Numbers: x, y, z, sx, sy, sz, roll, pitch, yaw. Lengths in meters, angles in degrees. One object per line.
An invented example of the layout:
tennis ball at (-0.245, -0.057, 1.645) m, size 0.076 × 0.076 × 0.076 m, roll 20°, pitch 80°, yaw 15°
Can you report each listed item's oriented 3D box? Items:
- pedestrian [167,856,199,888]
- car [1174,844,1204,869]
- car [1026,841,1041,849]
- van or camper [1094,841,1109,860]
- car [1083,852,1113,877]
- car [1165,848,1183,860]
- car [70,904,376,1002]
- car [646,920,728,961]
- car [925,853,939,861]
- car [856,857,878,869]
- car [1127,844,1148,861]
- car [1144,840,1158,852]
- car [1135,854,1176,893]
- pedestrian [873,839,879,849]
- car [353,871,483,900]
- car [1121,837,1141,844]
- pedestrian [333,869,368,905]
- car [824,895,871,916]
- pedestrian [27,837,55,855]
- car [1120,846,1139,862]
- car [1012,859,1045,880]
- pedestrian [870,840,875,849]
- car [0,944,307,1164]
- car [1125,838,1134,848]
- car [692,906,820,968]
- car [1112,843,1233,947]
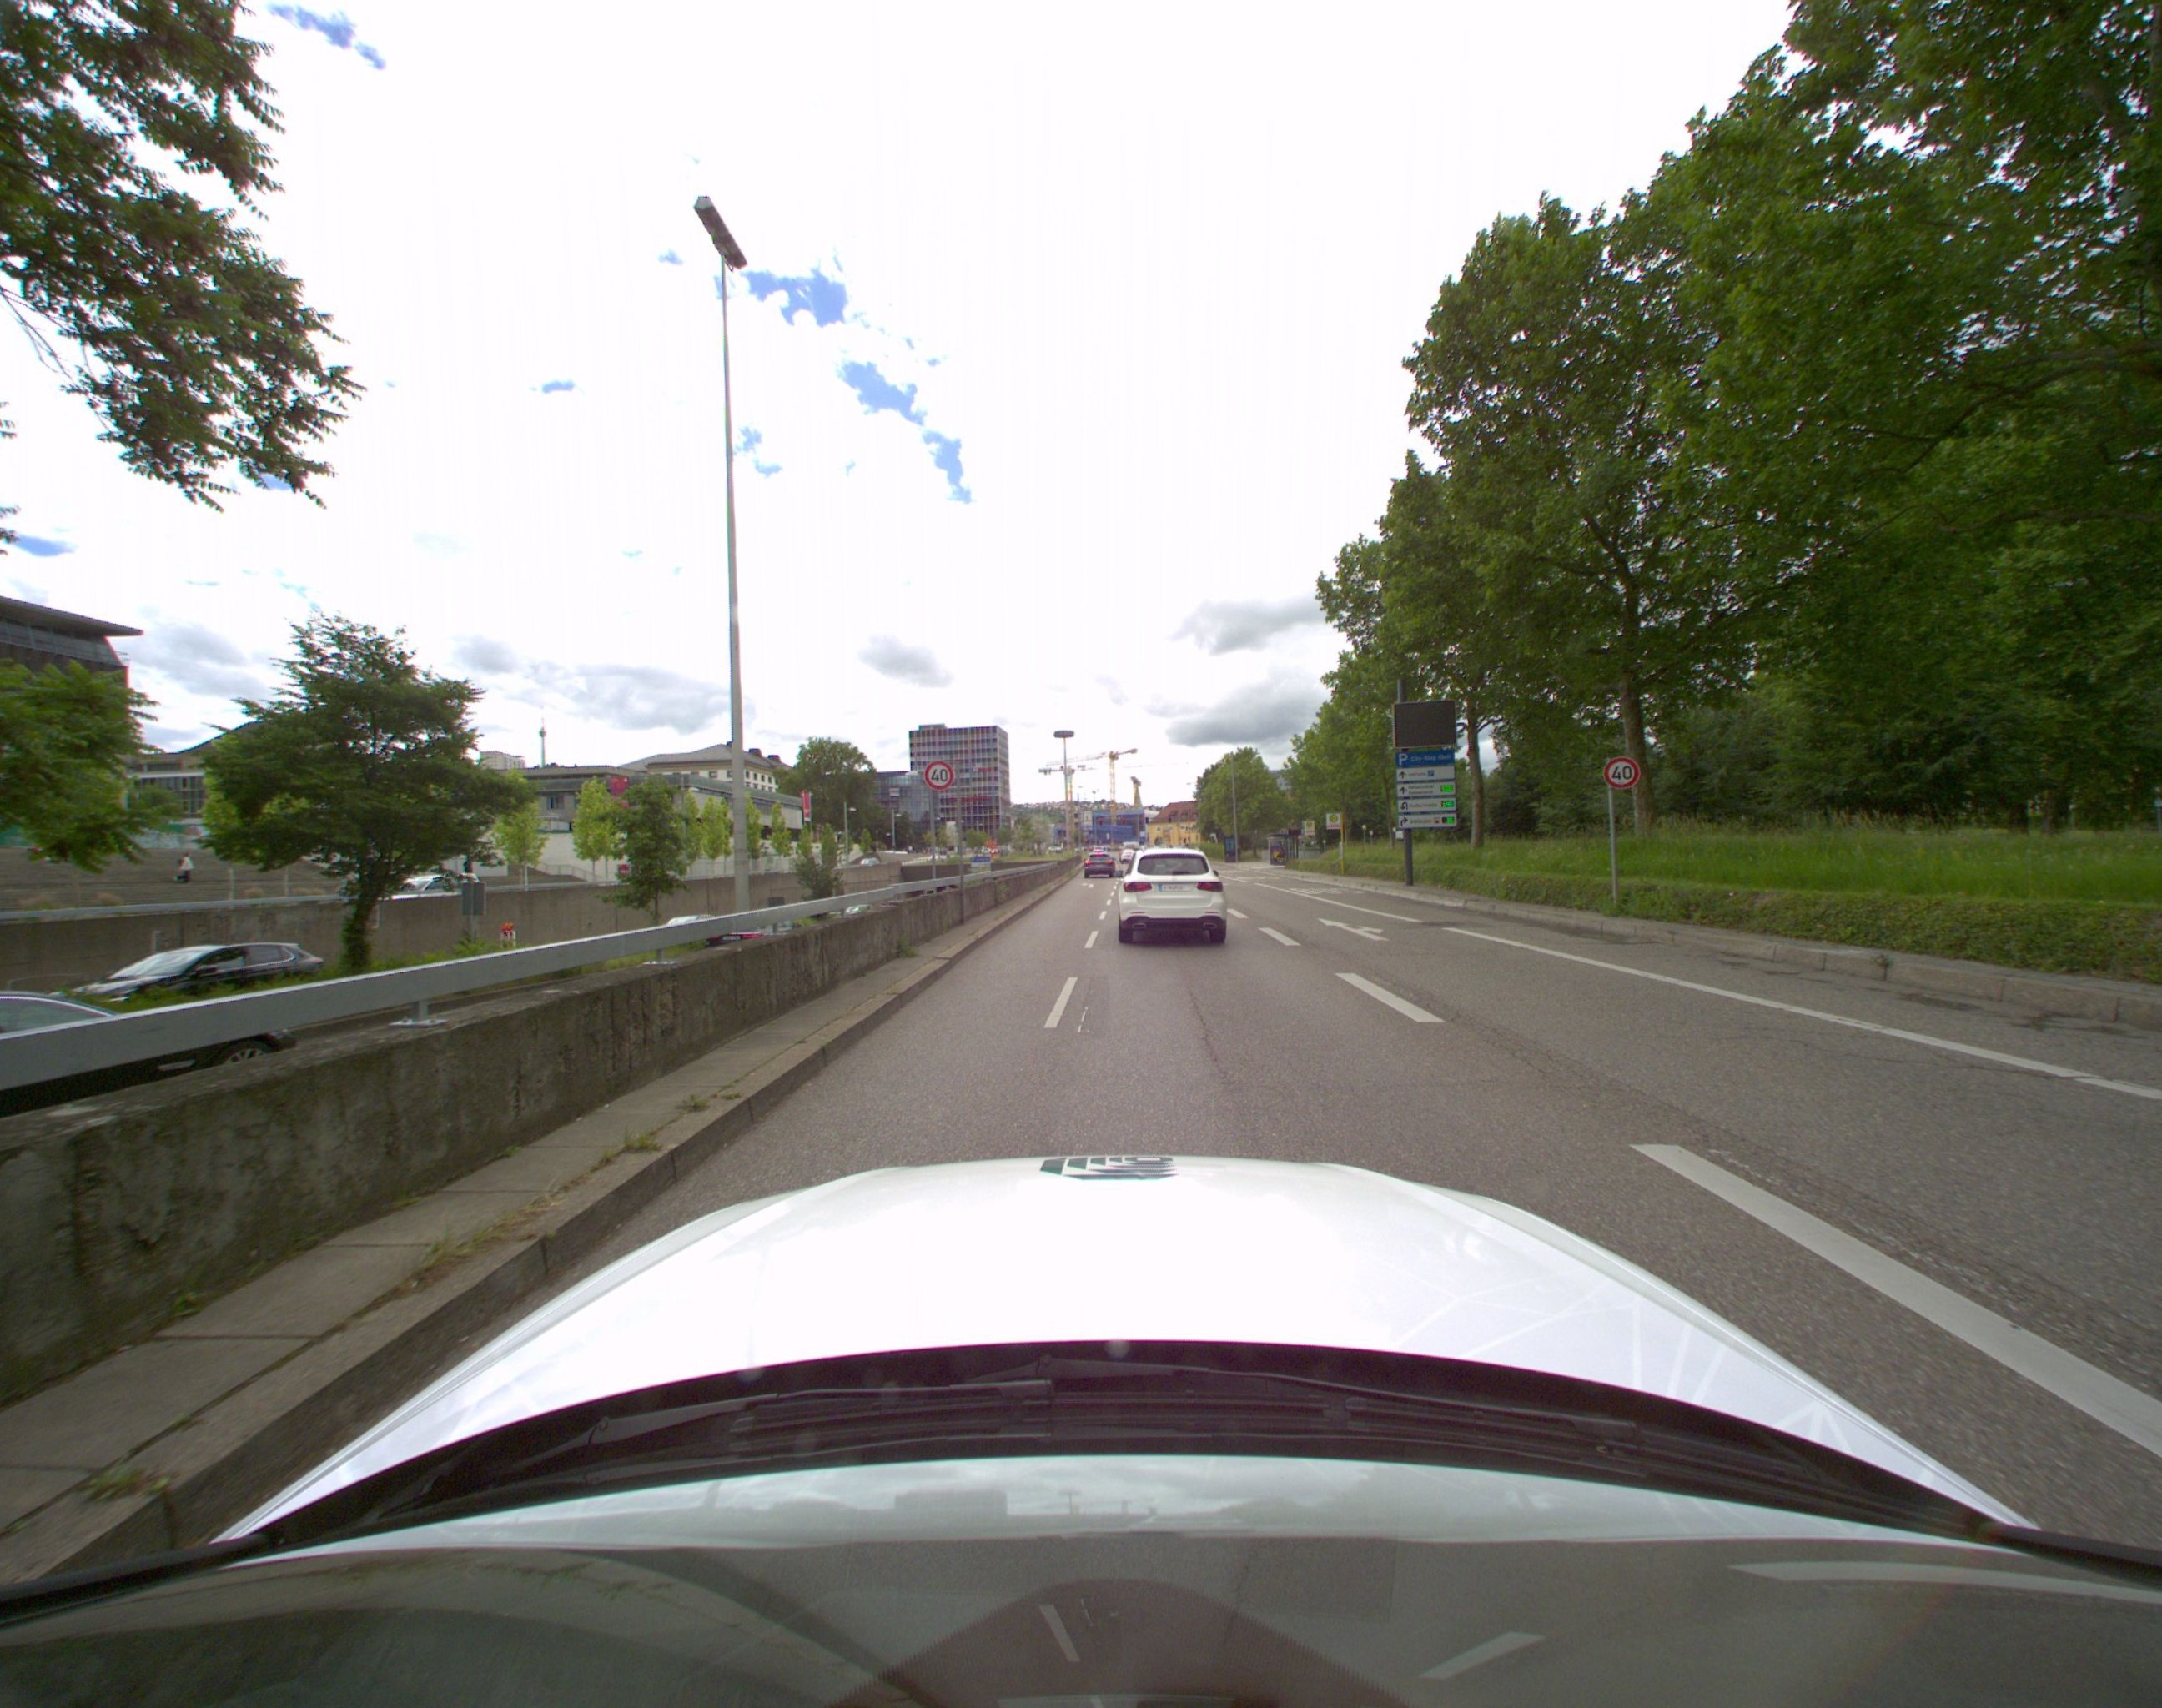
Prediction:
pedestrian at (-48.129, 0.953, 43.654) m, size 0.639 × 1.640 × 0.859 m, roll 4°, pitch -1°, yaw 1°
car at (8.485, 0.230, 64.408) m, size 1.969 × 1.893 × 4.711 m, roll 0°, pitch -1°, yaw 3°
car at (-13.478, -2.585, 230.684) m, size 3.994 × 2.014 × 1.990 m, roll 1°, pitch -1°, yaw -16°
van or camper at (2.712, -0.467, 109.016) m, size 1.915 × 2.320 × 4.001 m, roll -1°, pitch -2°, yaw 1°
car at (1.179, 0.697, 54.893) m, size 1.915 × 1.602 × 4.001 m, roll -1°, pitch 0°, yaw 1°
car at (13.230, -0.029, 116.262) m, size 1.989 × 1.618 × 3.996 m, roll 0°, pitch -1°, yaw -3°
car at (-16.728, 1.858, 16.242) m, size 1.896 × 1.486 × 3.997 m, roll 0°, pitch -1°, yaw -2°
car at (-19.072, 4.142, 39.637) m, size 1.874 × 1.538 × 4.576 m, roll 0°, pitch -1°, yaw -2°
car at (-27.877, 0.565, 152.243) m, size 1.803 × 1.427 × 3.707 m, roll 0°, pitch -1°, yaw 1°
car at (-25.464, 1.082, 96.937) m, size 1.828 × 1.360 × 3.863 m, roll 1°, pitch -1°, yaw -3°
car at (5.773, -0.155, 83.488) m, size 1.986 × 1.662 × 4.001 m, roll 0°, pitch -1°, yaw 1°
car at (9.973, -1.121, 116.489) m, size 1.713 × 1.584 × 4.000 m, roll 0°, pitch 0°, yaw 0°
car at (3.335, 0.842, 36.860) m, size 1.665 × 1.627 × 4.003 m, roll 0°, pitch 0°, yaw 3°
pedestrian at (-36.756, -1.776, 145.879) m, size 0.686 × 1.729 × 0.645 m, roll 0°, pitch -1°, yaw 27°
car at (-29.363, 1.357, 36.289) m, size 1.803 × 1.119 × 4.808 m, roll 0°, pitch -1°, yaw 1°
car at (14.138, -3.843, 229.551) m, size 5.221 × 2.060 × 1.885 m, roll 0°, pitch -1°, yaw 33°
pedestrian at (-35.263, 1.579, 39.326) m, size 0.732 × 1.640 × 1.005 m, roll -2°, pitch 0°, yaw 1°
car at (-15.661, 3.434, 54.782) m, size 1.989 × 1.142 × 4.843 m, roll 1°, pitch -1°, yaw -3°
pedestrian at (-52.019, -0.408, 40.753) m, size 0.531 × 0.871 × 0.659 m, roll 0°, pitch -1°, yaw 6°
car at (5.505, 0.067, 92.656) m, size 1.986 × 1.781 × 4.001 m, roll 0°, pitch -1°, yaw 1°
car at (-3.496, 1.008, 55.182) m, size 1.711 × 1.292 × 4.004 m, roll 0°, pitch 0°, yaw 4°
pedestrian at (-39.762, -1.752, 155.043) m, size 0.686 × 1.729 × 0.645 m, roll 0°, pitch -1°, yaw 25°
car at (-9.752, 1.796, 6.768) m, size 1.987 × 1.482 × 4.809 m, roll -2°, pitch 0°, yaw 0°
car at (10.738, -2.434, 181.676) m, size 1.793 × 2.014 × 4.001 m, roll 0°, pitch -1°, yaw 1°
car at (-9.910, 2.487, 25.304) m, size 1.804 × 1.460 × 4.866 m, roll 0°, pitch -1°, yaw 3°
car at (1.615, 0.691, 15.358) m, size 1.932 × 1.684 × 4.003 m, roll -1°, pitch -1°, yaw 3°
